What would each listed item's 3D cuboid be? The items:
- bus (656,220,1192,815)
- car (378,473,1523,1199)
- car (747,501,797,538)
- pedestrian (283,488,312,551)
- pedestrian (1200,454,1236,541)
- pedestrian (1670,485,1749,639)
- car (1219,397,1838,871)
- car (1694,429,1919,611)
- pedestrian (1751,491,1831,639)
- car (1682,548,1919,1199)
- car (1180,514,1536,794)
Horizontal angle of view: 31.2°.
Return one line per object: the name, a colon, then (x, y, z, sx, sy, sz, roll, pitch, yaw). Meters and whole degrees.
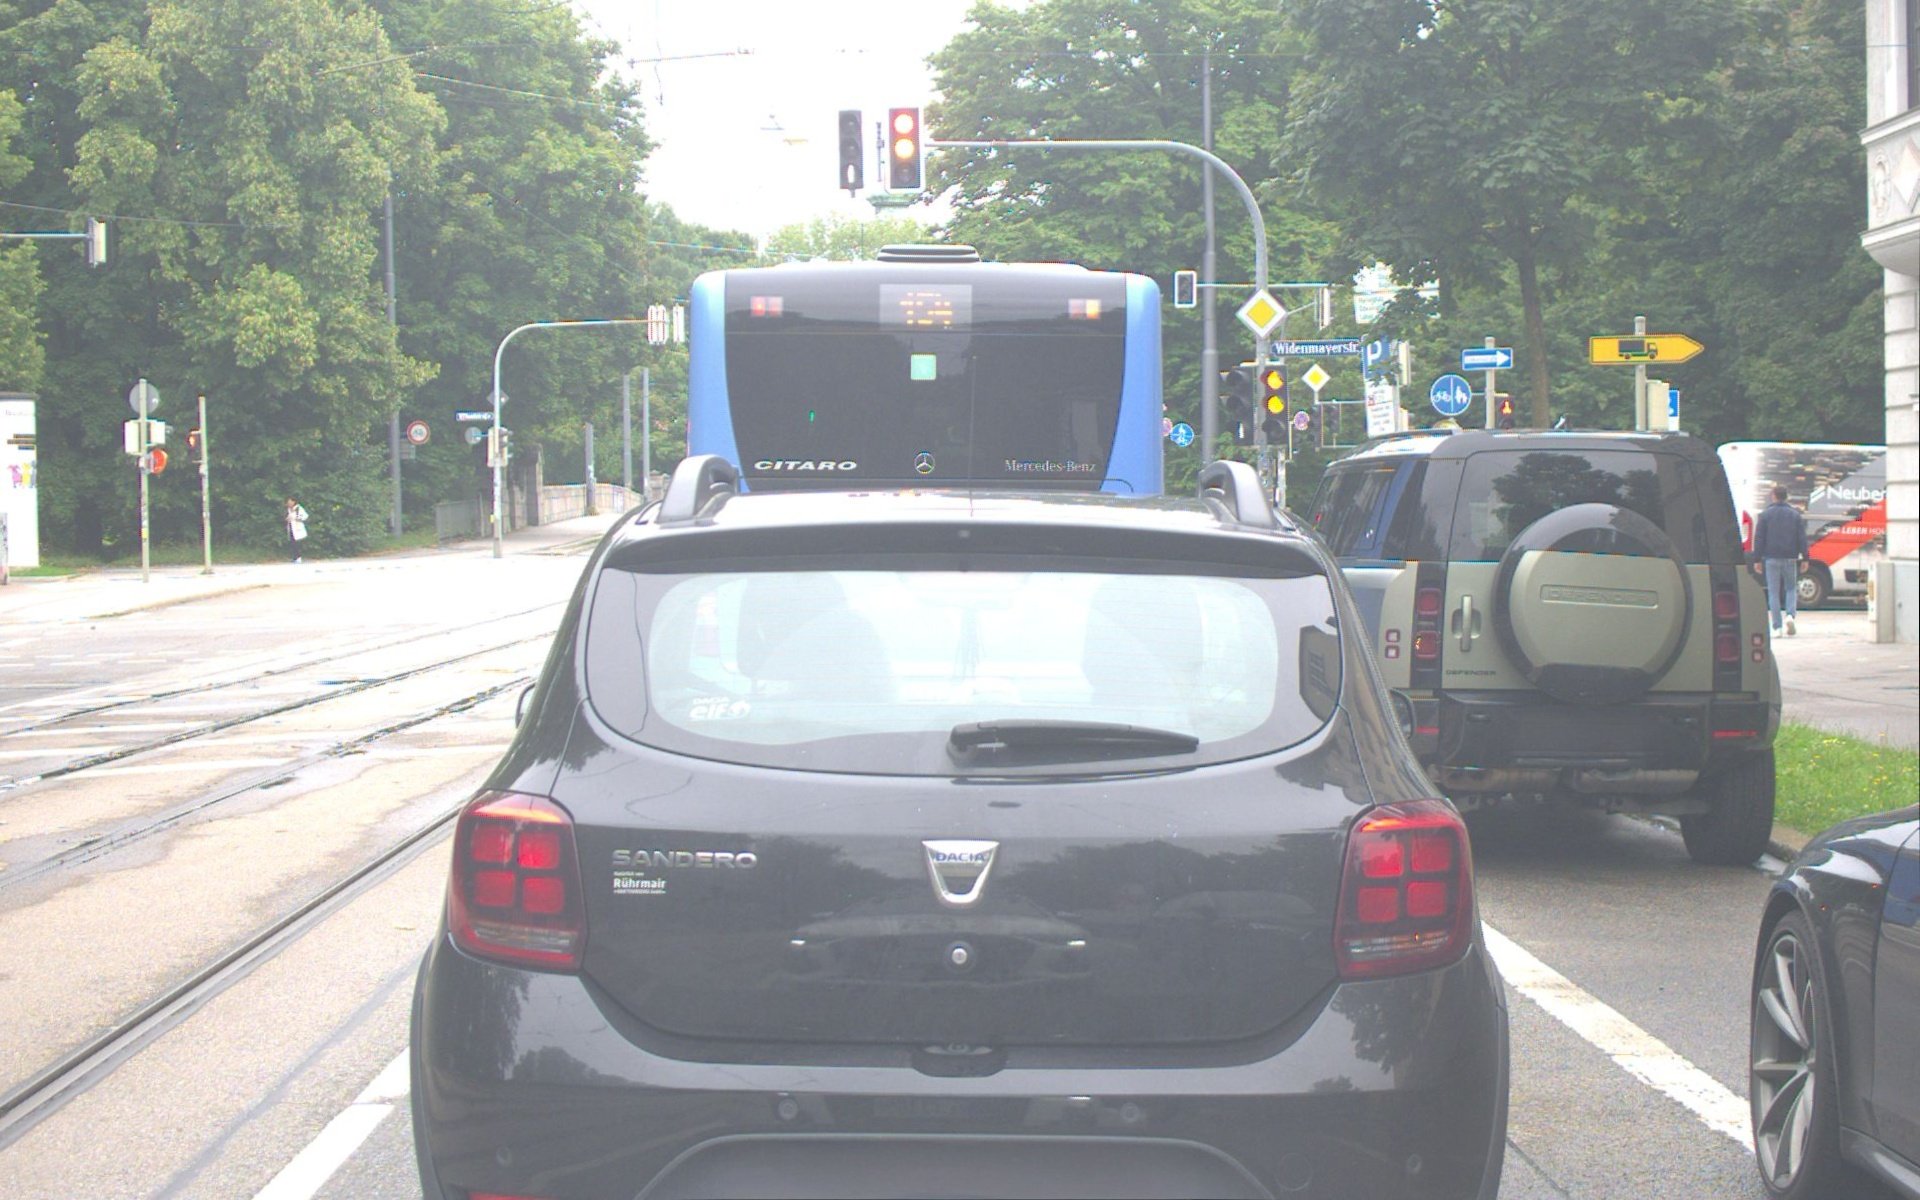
bus: (-0.327, -0.482, 21.051, 2.678, 2.987, 6.962, 1, 1, -2)
car: (-0.053, 0.580, 6.634, 1.600, 1.551, 3.525, 1, 1, -1)
car: (-7.166, -3.065, 131.063, 1.787, 1.365, 3.400, 1, 1, -2)
pedestrian: (-15.802, -1.913, 81.982, 0.532, 1.496, 0.588, 1, 1, 4)
pedestrian: (6.329, -2.521, 84.338, 0.762, 2.109, 0.853, -1, 2, 0)
pedestrian: (8.977, -0.461, 41.219, 0.705, 1.810, 0.870, 1, 1, -1)
car: (2.509, 0.096, 16.460, 1.914, 1.899, 4.809, 1, 1, -3)
car: (13.918, -1.164, 51.370, 5.295, 2.603, 2.231, 1, 1, -3)
pedestrian: (9.849, -0.416, 40.763, 0.705, 1.726, 0.843, 1, 1, -1)
car: (2.629, 0.648, 5.854, 1.716, 1.421, 4.603, 1, 1, -1)
car: (2.441, 0.270, 22.058, 1.714, 1.586, 4.327, 1, 1, -1)
